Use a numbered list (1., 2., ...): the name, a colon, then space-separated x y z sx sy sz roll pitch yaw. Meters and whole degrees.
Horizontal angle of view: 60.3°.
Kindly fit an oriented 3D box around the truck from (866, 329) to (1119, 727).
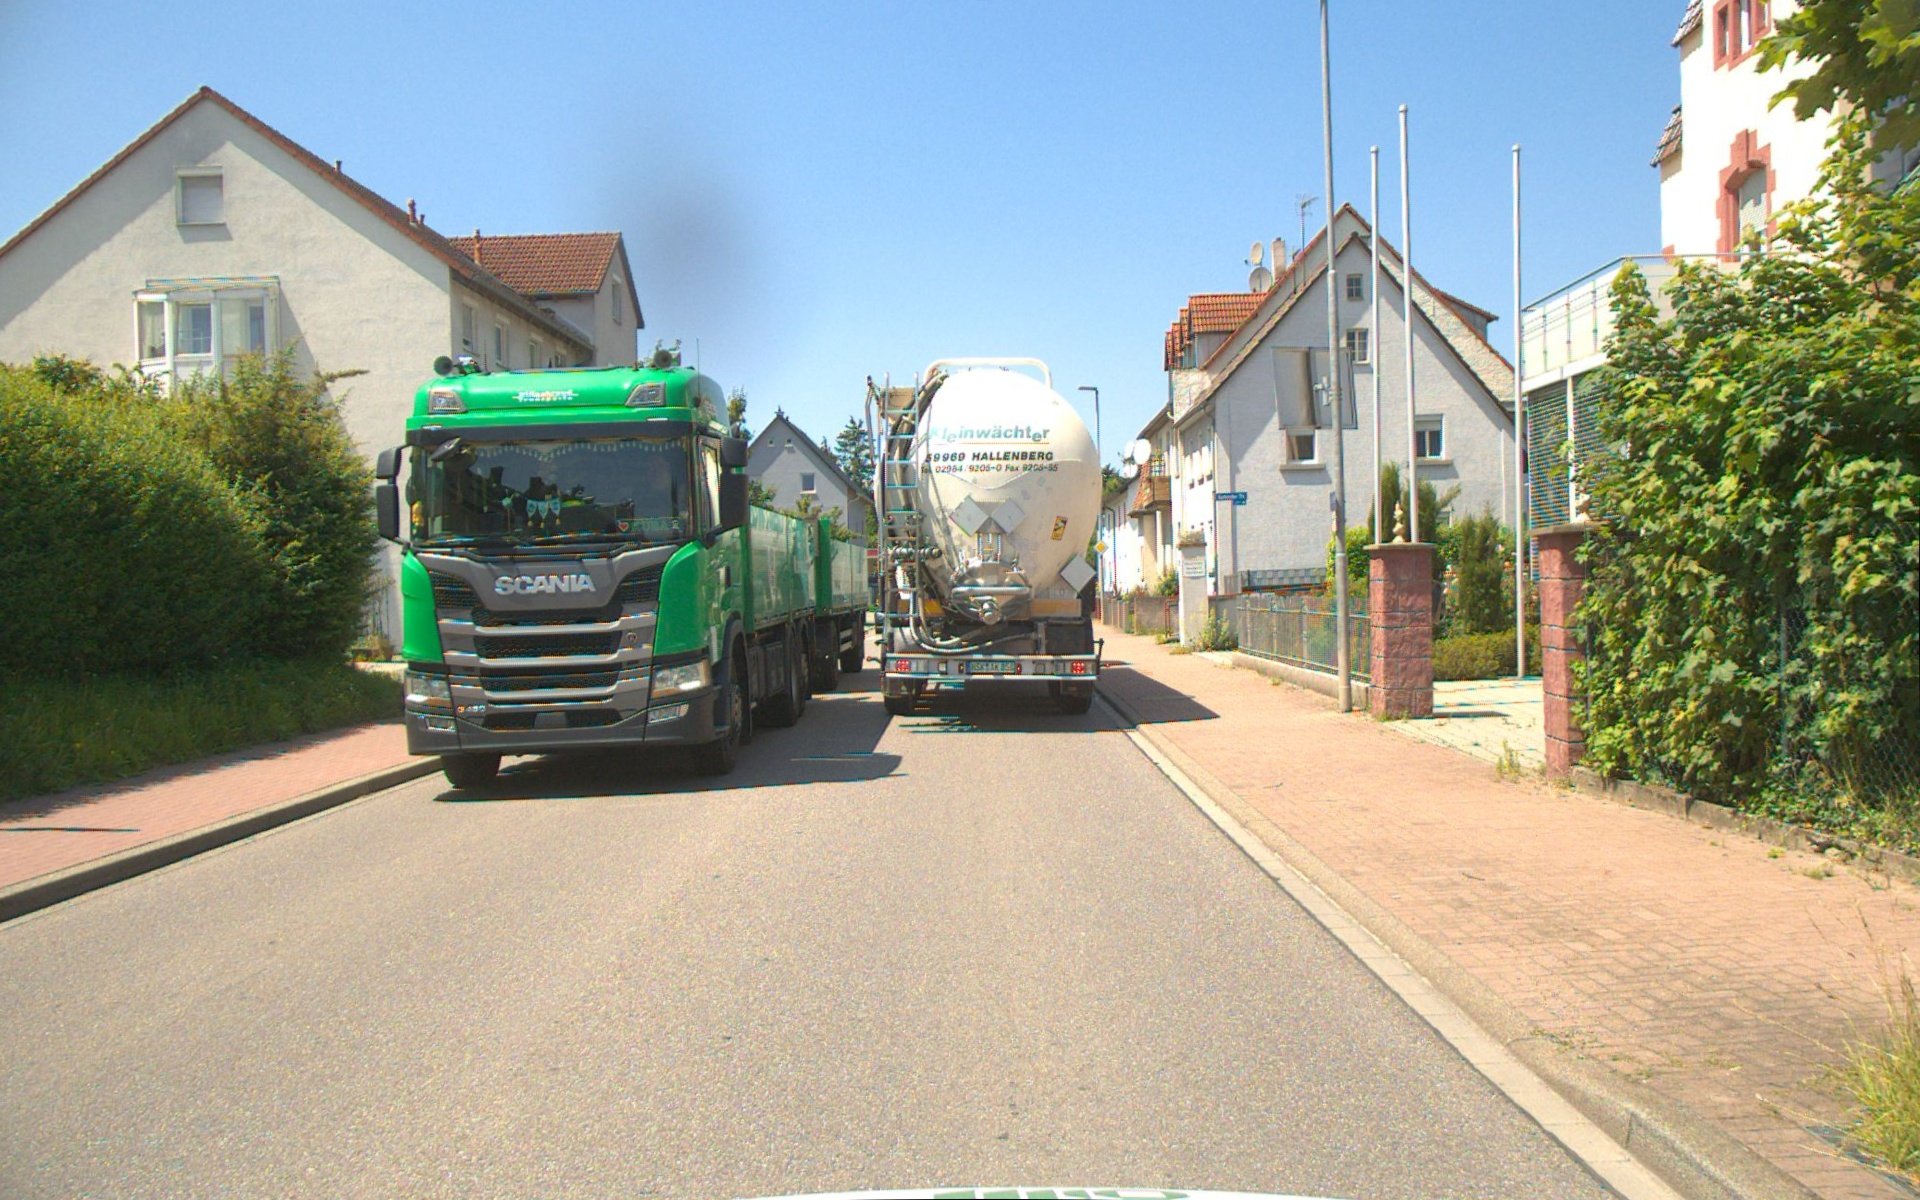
1. truck: 0.321 -0.780 21.801 2.587 4.086 9.561 0 0 0

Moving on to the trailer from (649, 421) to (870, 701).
1. trailer: -2.942 -0.572 26.634 2.478 3.712 8.461 -2 1 0

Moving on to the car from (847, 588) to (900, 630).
1. car: -3.254 0.324 63.087 1.695 1.485 4.694 -2 0 0

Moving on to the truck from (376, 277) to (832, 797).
1. truck: -3.041 -0.519 17.363 2.515 3.765 10.077 -2 1 0
